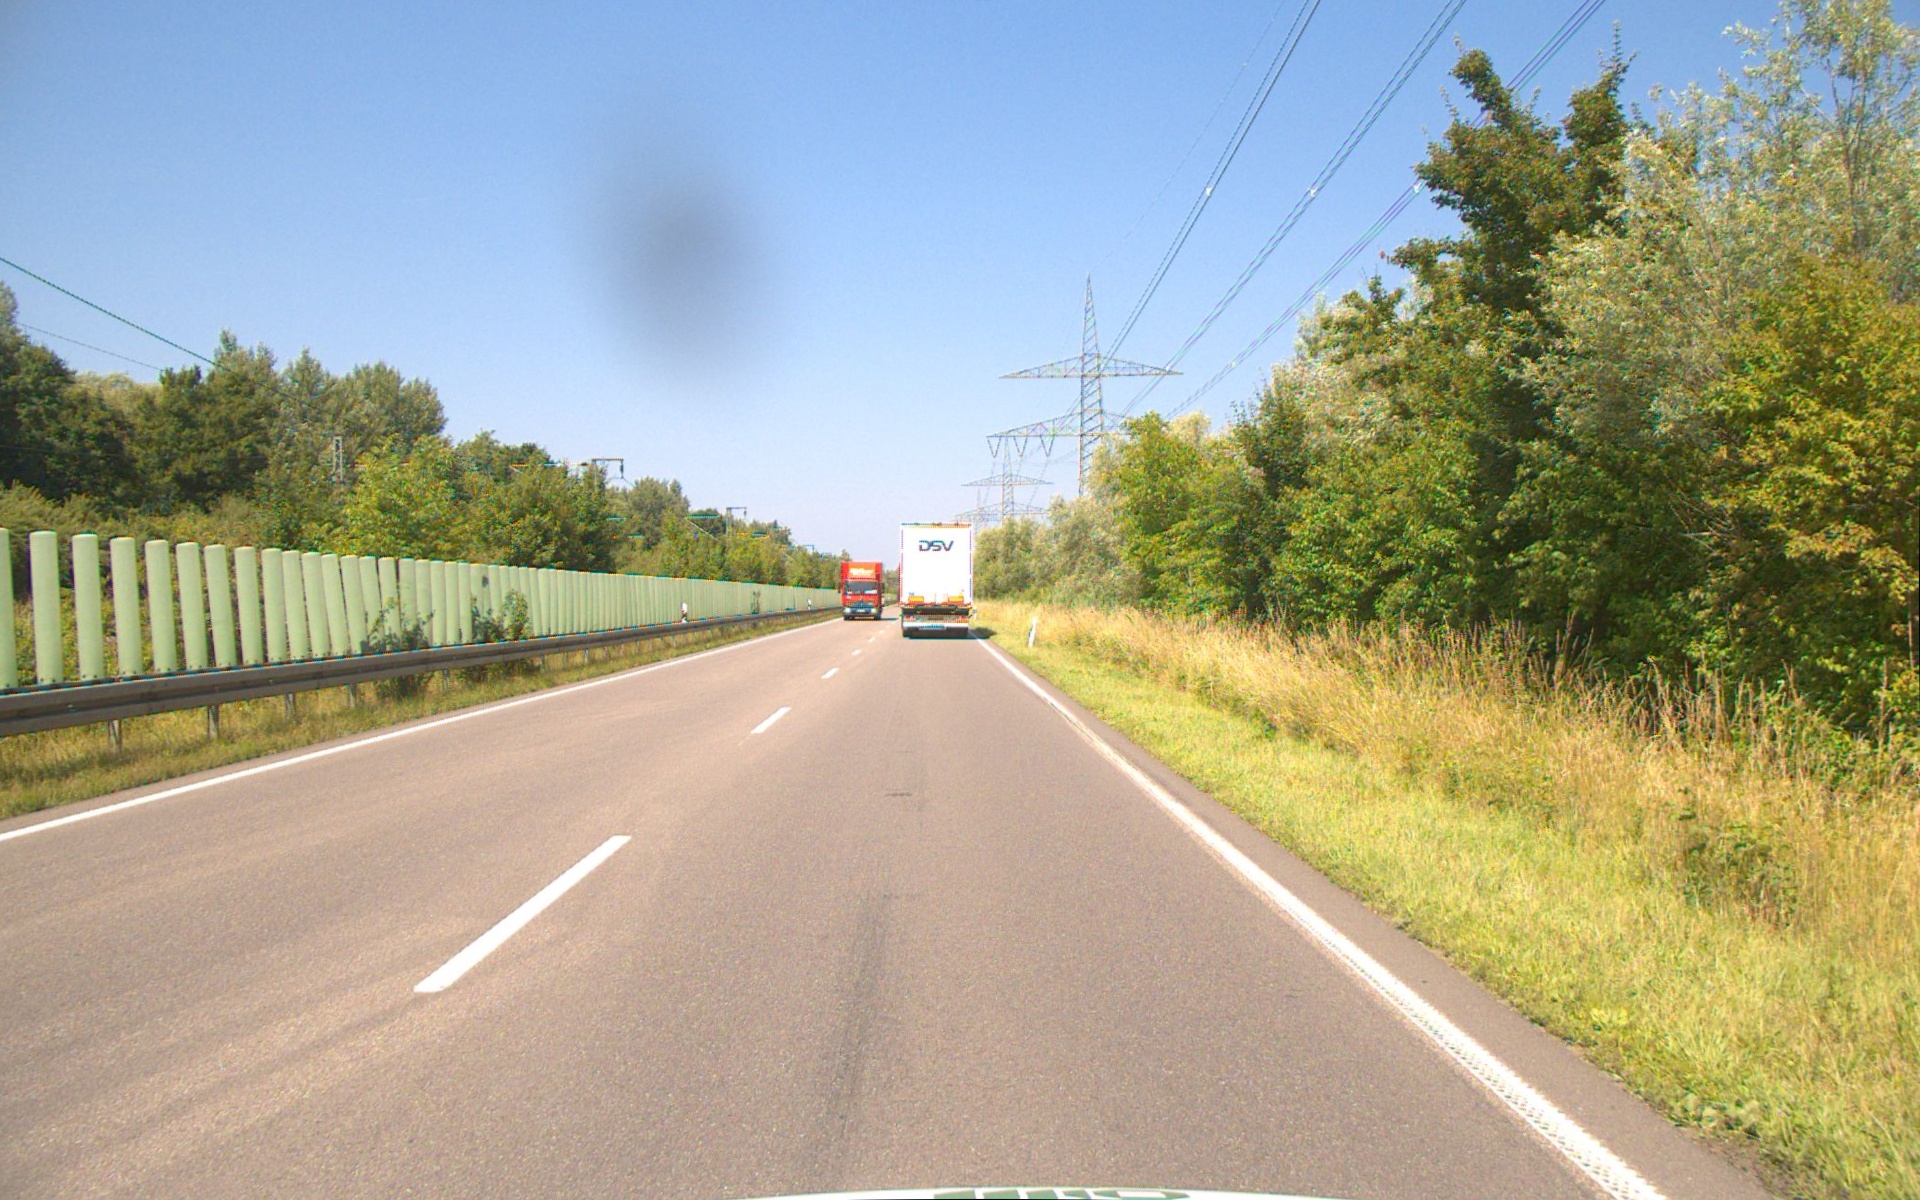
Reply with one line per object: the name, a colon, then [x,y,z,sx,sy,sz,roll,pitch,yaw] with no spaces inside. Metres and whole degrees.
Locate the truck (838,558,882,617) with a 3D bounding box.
truck: [-6.357,-0.787,106.585,2.679,3.662,9.522,0,0,-3]

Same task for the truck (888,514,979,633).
truck: [-1.077,-0.931,63.016,3.127,4.113,12.002,0,0,-2]
